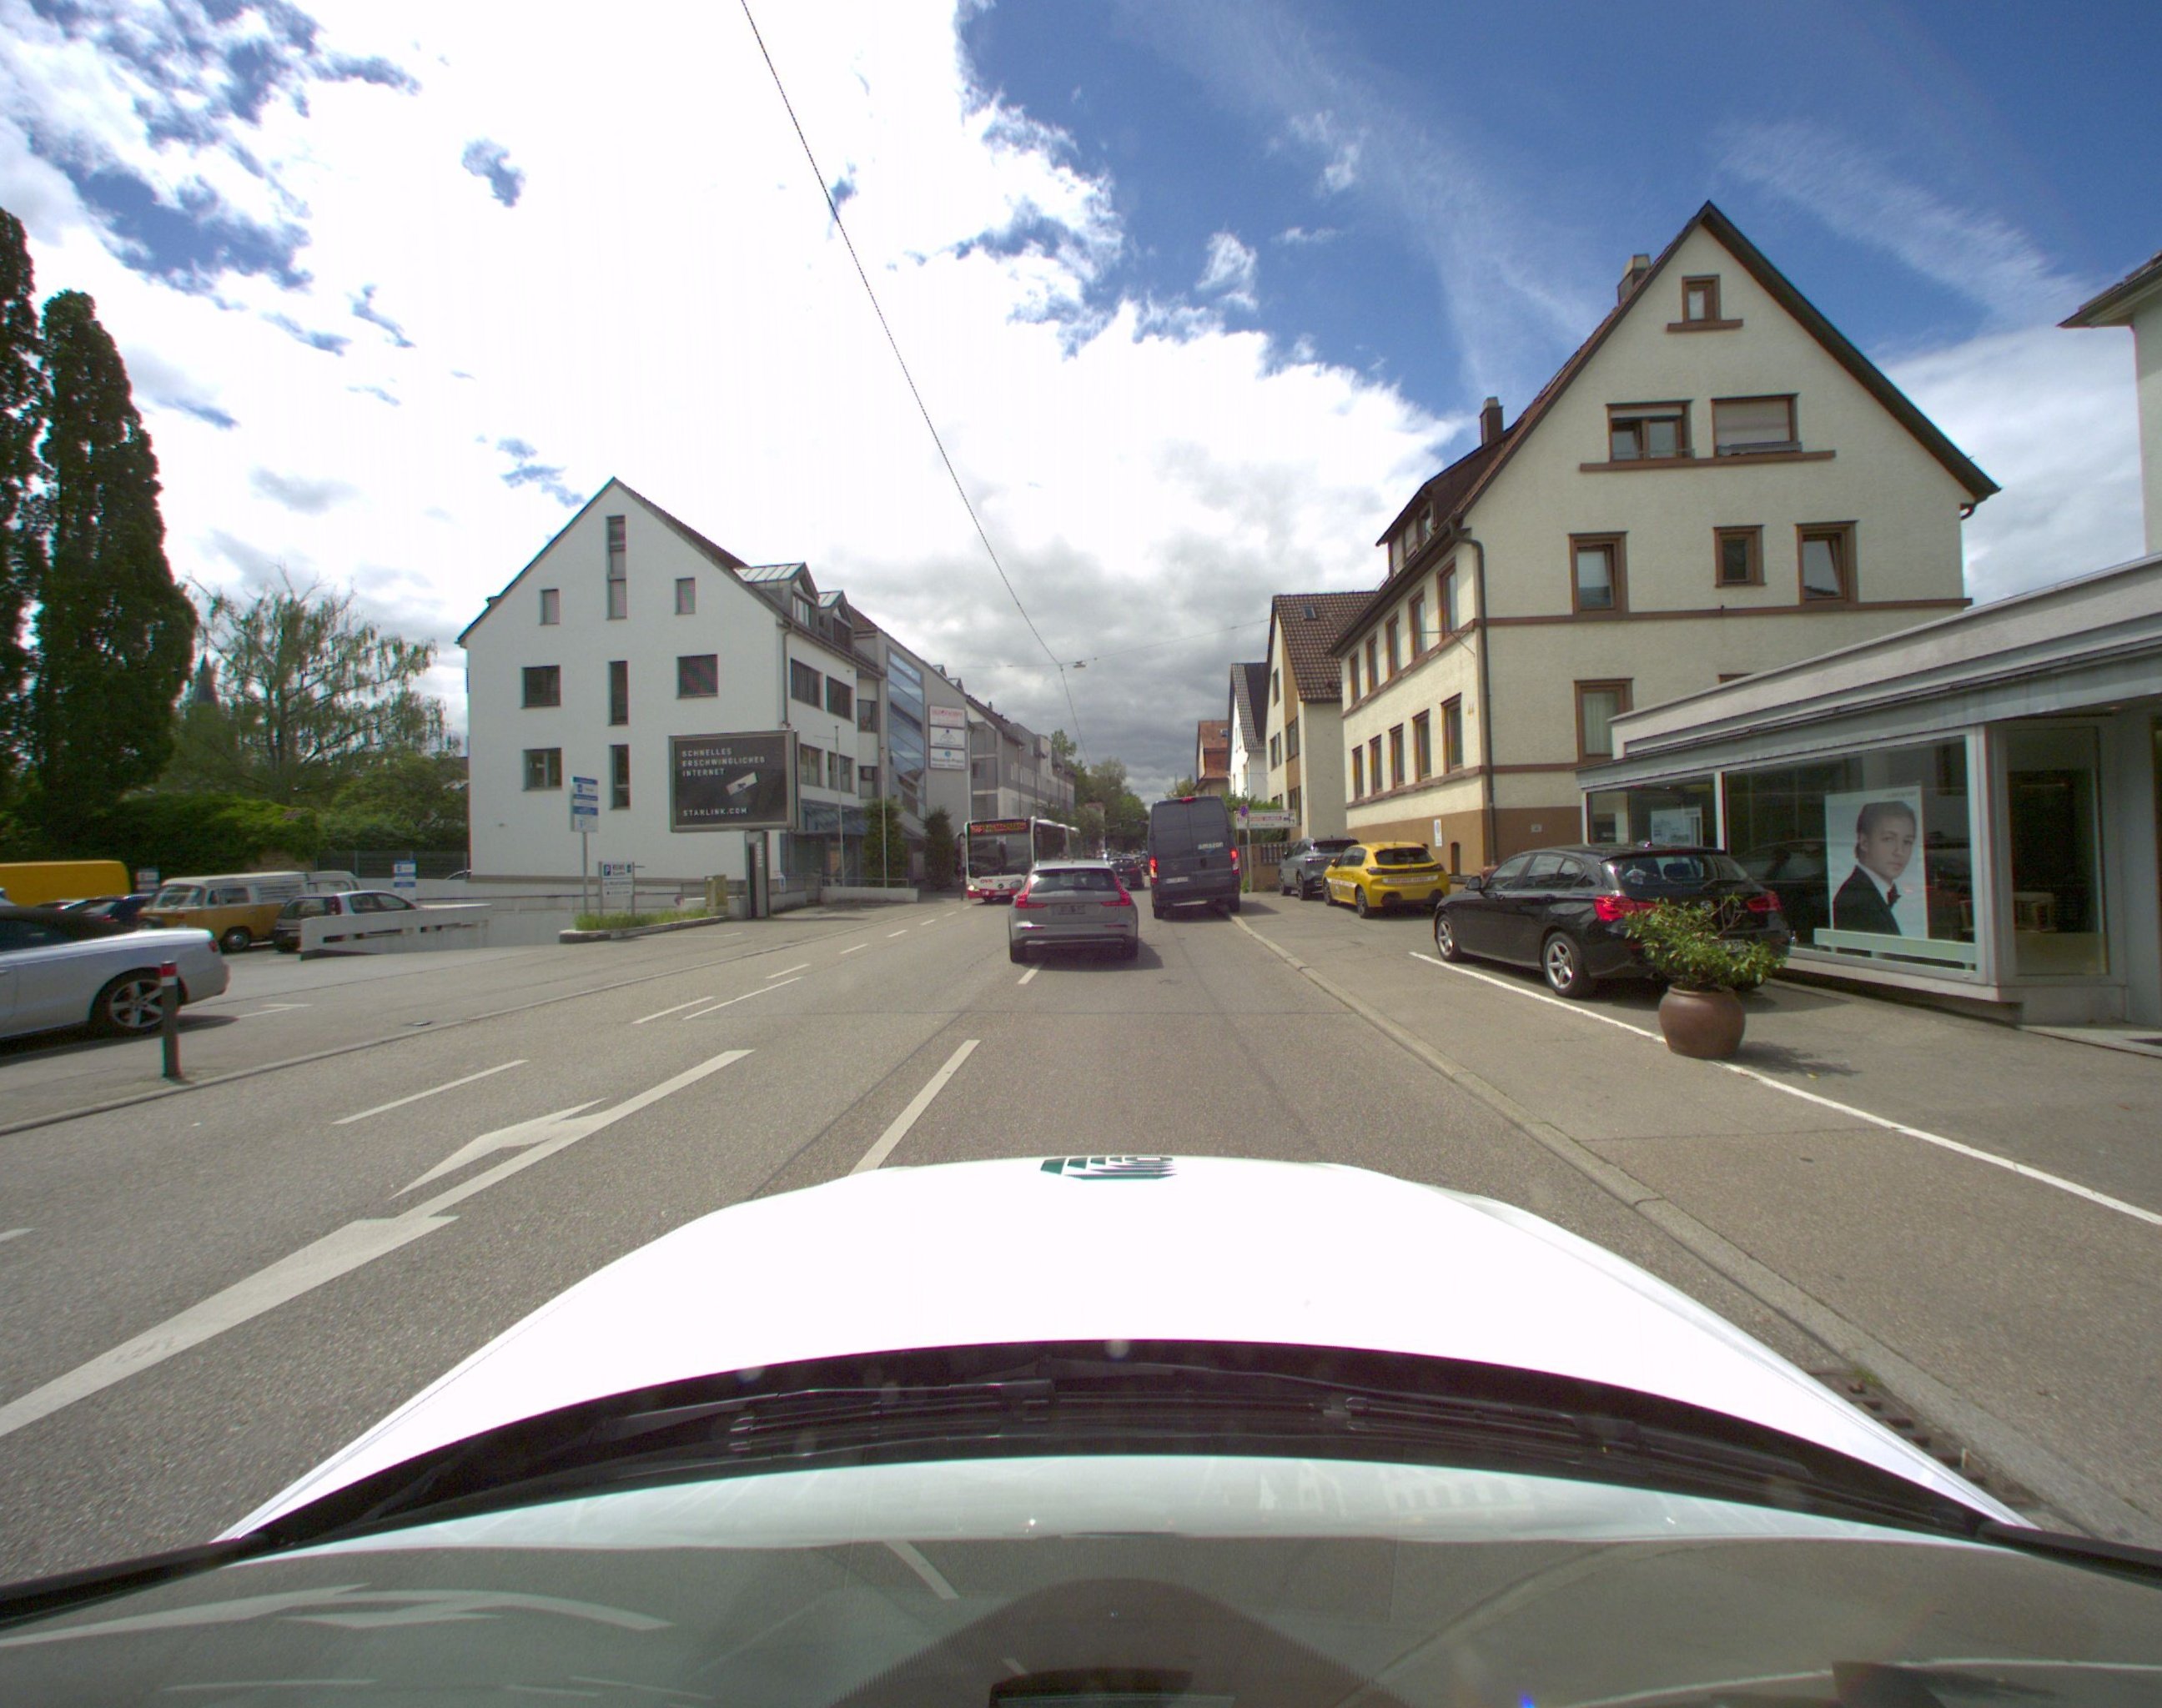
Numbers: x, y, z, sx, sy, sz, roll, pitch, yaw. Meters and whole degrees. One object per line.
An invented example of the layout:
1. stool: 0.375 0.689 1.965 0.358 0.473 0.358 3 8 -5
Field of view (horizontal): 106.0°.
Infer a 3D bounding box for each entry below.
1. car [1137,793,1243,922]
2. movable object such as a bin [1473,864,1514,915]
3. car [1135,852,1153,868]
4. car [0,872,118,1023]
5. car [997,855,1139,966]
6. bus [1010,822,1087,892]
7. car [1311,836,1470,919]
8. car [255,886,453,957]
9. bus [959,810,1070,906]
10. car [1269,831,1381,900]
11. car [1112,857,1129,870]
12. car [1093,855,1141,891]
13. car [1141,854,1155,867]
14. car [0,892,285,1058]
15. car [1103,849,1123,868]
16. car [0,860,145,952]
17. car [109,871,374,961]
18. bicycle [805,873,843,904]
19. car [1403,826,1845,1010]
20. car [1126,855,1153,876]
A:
1. car: 2.723 0.084 20.863 2.241 2.795 5.579 -2 0 6
2. movable object such as a bin: 7.777 0.657 15.365 0.498 0.925 0.599 -2 0 7
3. car: 7.978 0.765 103.364 1.986 2.013 4.002 -2 0 2
4. car: -13.113 1.129 7.592 1.939 1.619 4.944 -4 0 10
5. car: -0.144 0.761 12.906 1.890 1.453 3.969 -1 0 1
6. bus: -1.488 0.143 41.862 2.702 3.163 8.081 -2 0 6
7. car: 6.443 0.399 17.503 1.870 1.447 4.310 -2 2 2
8. car: -19.115 1.708 21.668 1.805 1.529 3.758 -2 0 1
9. bus: -2.326 0.141 32.759 2.669 3.163 10.198 -2 0 5
10. car: 6.513 0.286 22.301 1.853 1.612 4.590 -3 0 3
11. car: 5.334 1.273 109.429 2.096 1.709 4.769 -2 0 3
12. car: 1.669 0.802 36.065 1.887 1.446 3.975 -1 0 6
13. car: 10.755 0.964 130.618 1.984 2.013 4.006 -2 0 6
14. car: -10.527 1.155 7.138 1.940 1.358 4.866 -2 0 8
15. car: 3.853 0.533 97.066 2.096 2.121 4.769 -4 0 3
16. car: -30.976 1.524 22.840 2.051 2.530 5.988 -3 -1 7
17. car: -21.827 1.508 21.520 1.828 1.989 4.658 -2 0 7
18. bicycle: -9.909 1.330 31.461 0.627 1.095 2.006 -2 0 5
19. car: 5.398 0.538 9.031 1.961 1.447 4.537 -2 0 2
20. car: 4.287 0.842 59.300 1.887 1.446 3.975 -1 0 6
